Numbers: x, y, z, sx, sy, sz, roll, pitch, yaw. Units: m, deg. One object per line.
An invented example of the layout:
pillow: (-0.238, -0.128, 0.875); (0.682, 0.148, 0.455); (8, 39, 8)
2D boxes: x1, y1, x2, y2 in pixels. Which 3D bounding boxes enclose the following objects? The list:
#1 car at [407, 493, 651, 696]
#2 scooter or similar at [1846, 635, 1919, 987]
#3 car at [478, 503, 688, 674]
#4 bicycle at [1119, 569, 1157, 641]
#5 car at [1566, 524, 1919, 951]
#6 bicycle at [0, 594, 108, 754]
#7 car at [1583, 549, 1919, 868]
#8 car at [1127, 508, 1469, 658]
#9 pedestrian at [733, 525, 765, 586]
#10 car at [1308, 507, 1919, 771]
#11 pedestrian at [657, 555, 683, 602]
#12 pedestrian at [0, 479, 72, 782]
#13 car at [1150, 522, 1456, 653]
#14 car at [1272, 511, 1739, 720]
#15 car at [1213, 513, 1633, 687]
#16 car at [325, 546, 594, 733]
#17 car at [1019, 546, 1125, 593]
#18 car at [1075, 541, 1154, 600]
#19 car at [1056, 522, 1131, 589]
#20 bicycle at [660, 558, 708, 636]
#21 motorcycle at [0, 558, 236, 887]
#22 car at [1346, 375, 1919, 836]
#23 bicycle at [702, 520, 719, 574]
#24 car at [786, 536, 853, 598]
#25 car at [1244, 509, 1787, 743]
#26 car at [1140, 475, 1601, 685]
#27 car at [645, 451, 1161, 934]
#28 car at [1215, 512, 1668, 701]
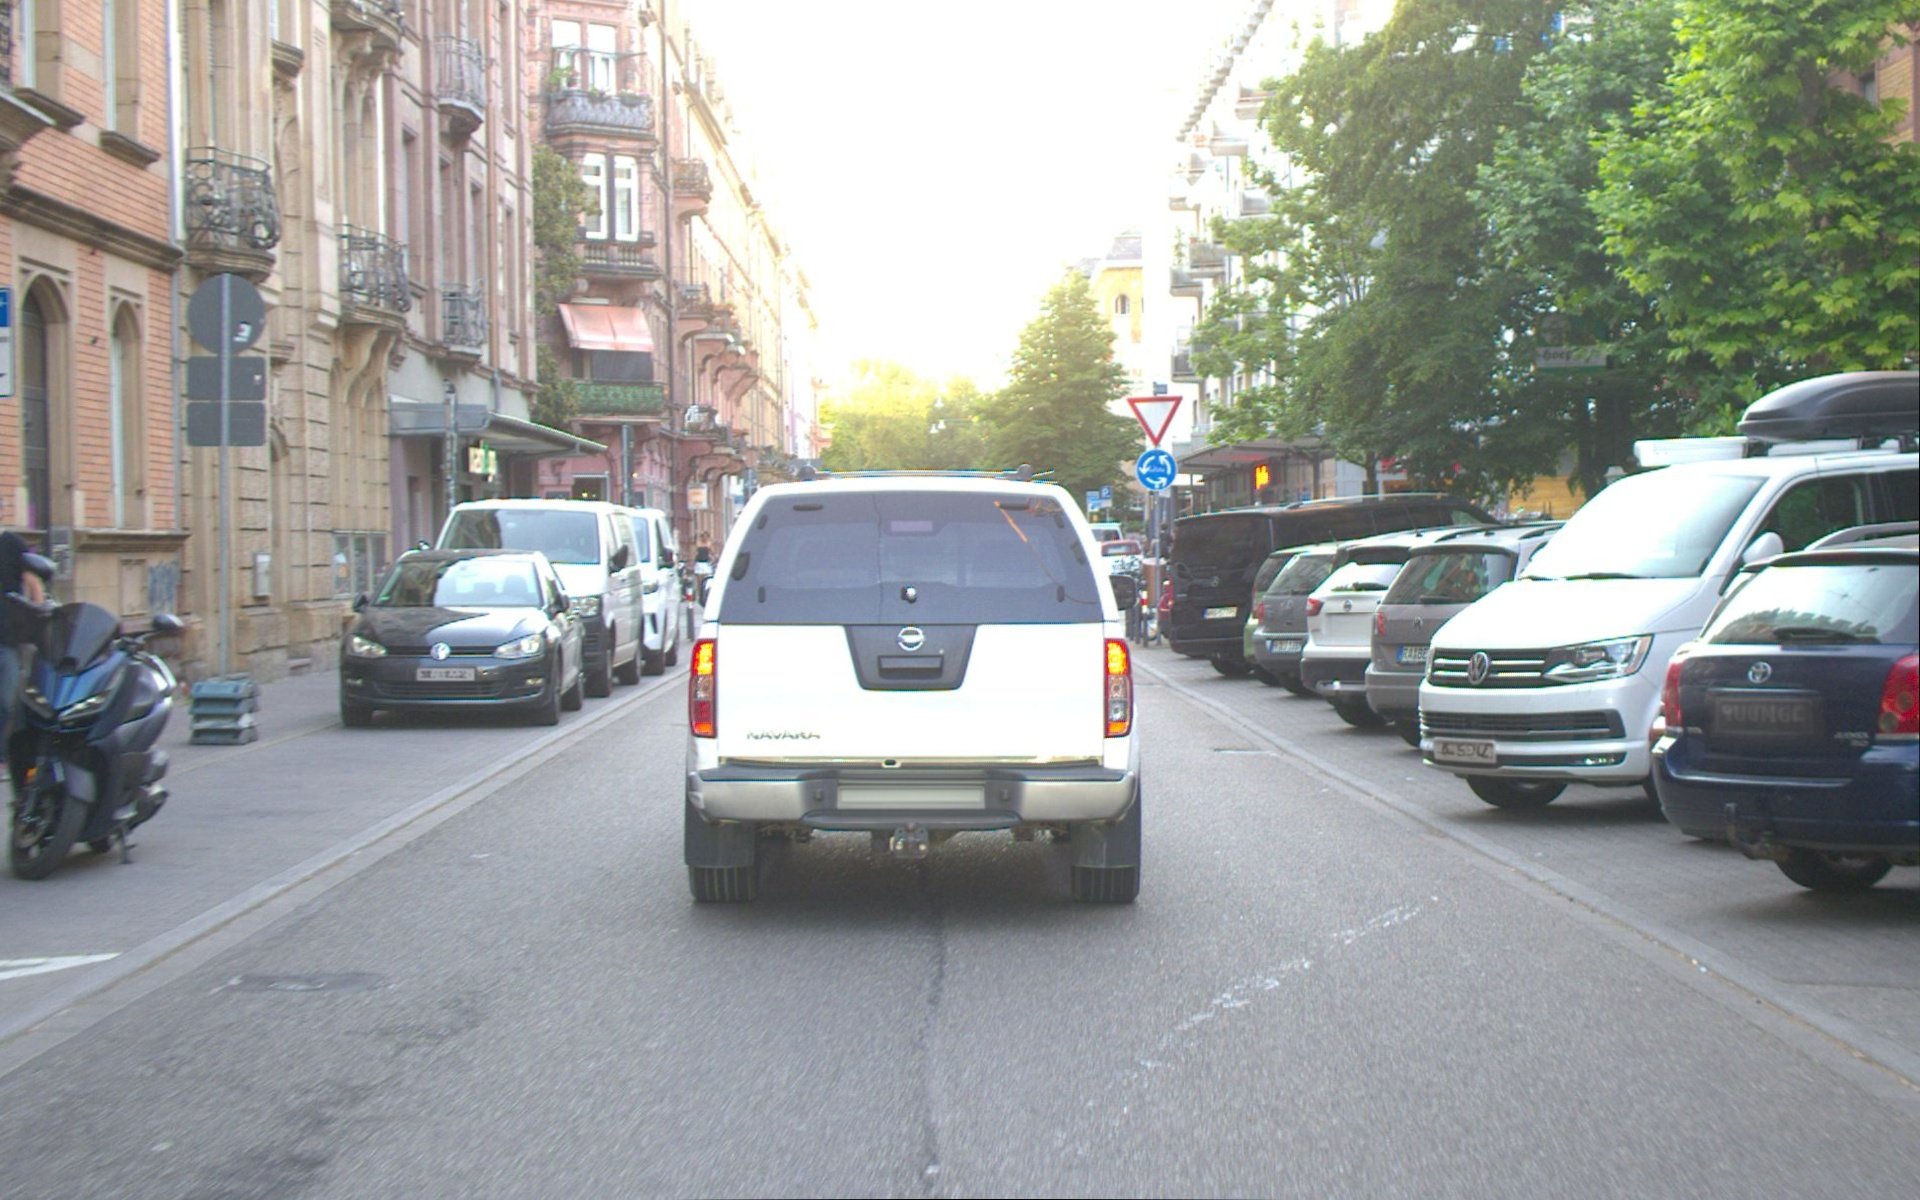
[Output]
car: (-4.314, -0.085, 35.103); (1.837, 1.915, 4.845); (0, 1, 0)
scooter or similar: (3.631, 0.699, 11.129); (0.654, 1.146, 1.484); (-3, 2, -24)
car: (-4.446, -0.168, 41.239); (2.109, 1.915, 5.026); (0, 1, -2)
bicycle: (2.671, 0.073, 51.630); (0.364, 1.060, 1.552); (1, 0, -4)
car: (4.617, 0.437, 14.008); (3.854, 1.511, 1.848); (-2, 1, -26)
bicycle: (-6.683, 0.512, 24.890); (0.749, 1.097, 2.026); (1, 0, -7)
car: (5.142, 0.437, 17.010); (3.855, 1.403, 1.759); (-2, 0, -33)
car: (4.446, -0.235, 44.899); (4.212, 1.682, 1.933); (-5, 2, -38)
pedestrian: (-5.592, -1.171, 91.084); (0.797, 1.615, 0.944); (1, 0, -3)
car: (4.809, 0.228, 25.101); (4.153, 1.585, 1.886); (-4, 3, -31)
pedestrian: (-7.316, -0.542, 86.751); (0.648, 1.187, 0.540); (1, 0, -4)
pedestrian: (-5.845, 0.176, 20.947); (0.681, 1.804, 0.961); (1, 0, -6)
car: (4.834, -0.202, 48.238); (4.036, 1.622, 1.693); (-3, 3, -32)
car: (4.992, 0.110, 31.232); (4.097, 1.585, 1.818); (-5, 2, -38)
car: (4.909, -0.024, 36.295); (4.096, 1.546, 1.818); (-4, 2, -32)
car: (-4.184, 0.280, 29.298); (1.836, 1.466, 4.173); (0, 1, -2)
car: (4.317, -1.164, 132.714); (3.987, 1.744, 1.841); (1, 0, -1)
car: (4.136, -0.786, 92.598); (1.834, 1.536, 4.000); (1, 0, -1)
car: (3.925, -1.296, 101.375); (1.942, 1.927, 4.000); (1, 0, -1)
bicycle: (-4.123, -0.051, 51.427); (0.471, 1.138, 1.784); (1, 0, 3)
motorcycle: (-3.903, 0.516, 15.699); (0.685, 1.400, 2.014); (1, 0, 2)
car: (4.844, -0.052, 19.558); (4.922, 2.354, 2.000); (-2, 1, -26)
bicycle: (-6.722, -1.425, 92.579); (0.424, 1.437, 1.905); (1, 0, -5)
car: (-4.013, -0.937, 98.869); (1.834, 1.744, 4.000); (1, 0, -1)
car: (4.548, 0.174, 28.021); (4.096, 1.585, 1.818); (-4, 2, -31)
car: (4.793, -0.267, 39.629); (5.421, 2.065, 1.933); (-5, 2, -38)
car: (-0.108, 0.333, 15.513); (1.938, 1.804, 5.000); (1, 0, 3)
car: (4.728, 0.035, 33.615); (4.096, 1.546, 1.818); (-4, 2, -32)
